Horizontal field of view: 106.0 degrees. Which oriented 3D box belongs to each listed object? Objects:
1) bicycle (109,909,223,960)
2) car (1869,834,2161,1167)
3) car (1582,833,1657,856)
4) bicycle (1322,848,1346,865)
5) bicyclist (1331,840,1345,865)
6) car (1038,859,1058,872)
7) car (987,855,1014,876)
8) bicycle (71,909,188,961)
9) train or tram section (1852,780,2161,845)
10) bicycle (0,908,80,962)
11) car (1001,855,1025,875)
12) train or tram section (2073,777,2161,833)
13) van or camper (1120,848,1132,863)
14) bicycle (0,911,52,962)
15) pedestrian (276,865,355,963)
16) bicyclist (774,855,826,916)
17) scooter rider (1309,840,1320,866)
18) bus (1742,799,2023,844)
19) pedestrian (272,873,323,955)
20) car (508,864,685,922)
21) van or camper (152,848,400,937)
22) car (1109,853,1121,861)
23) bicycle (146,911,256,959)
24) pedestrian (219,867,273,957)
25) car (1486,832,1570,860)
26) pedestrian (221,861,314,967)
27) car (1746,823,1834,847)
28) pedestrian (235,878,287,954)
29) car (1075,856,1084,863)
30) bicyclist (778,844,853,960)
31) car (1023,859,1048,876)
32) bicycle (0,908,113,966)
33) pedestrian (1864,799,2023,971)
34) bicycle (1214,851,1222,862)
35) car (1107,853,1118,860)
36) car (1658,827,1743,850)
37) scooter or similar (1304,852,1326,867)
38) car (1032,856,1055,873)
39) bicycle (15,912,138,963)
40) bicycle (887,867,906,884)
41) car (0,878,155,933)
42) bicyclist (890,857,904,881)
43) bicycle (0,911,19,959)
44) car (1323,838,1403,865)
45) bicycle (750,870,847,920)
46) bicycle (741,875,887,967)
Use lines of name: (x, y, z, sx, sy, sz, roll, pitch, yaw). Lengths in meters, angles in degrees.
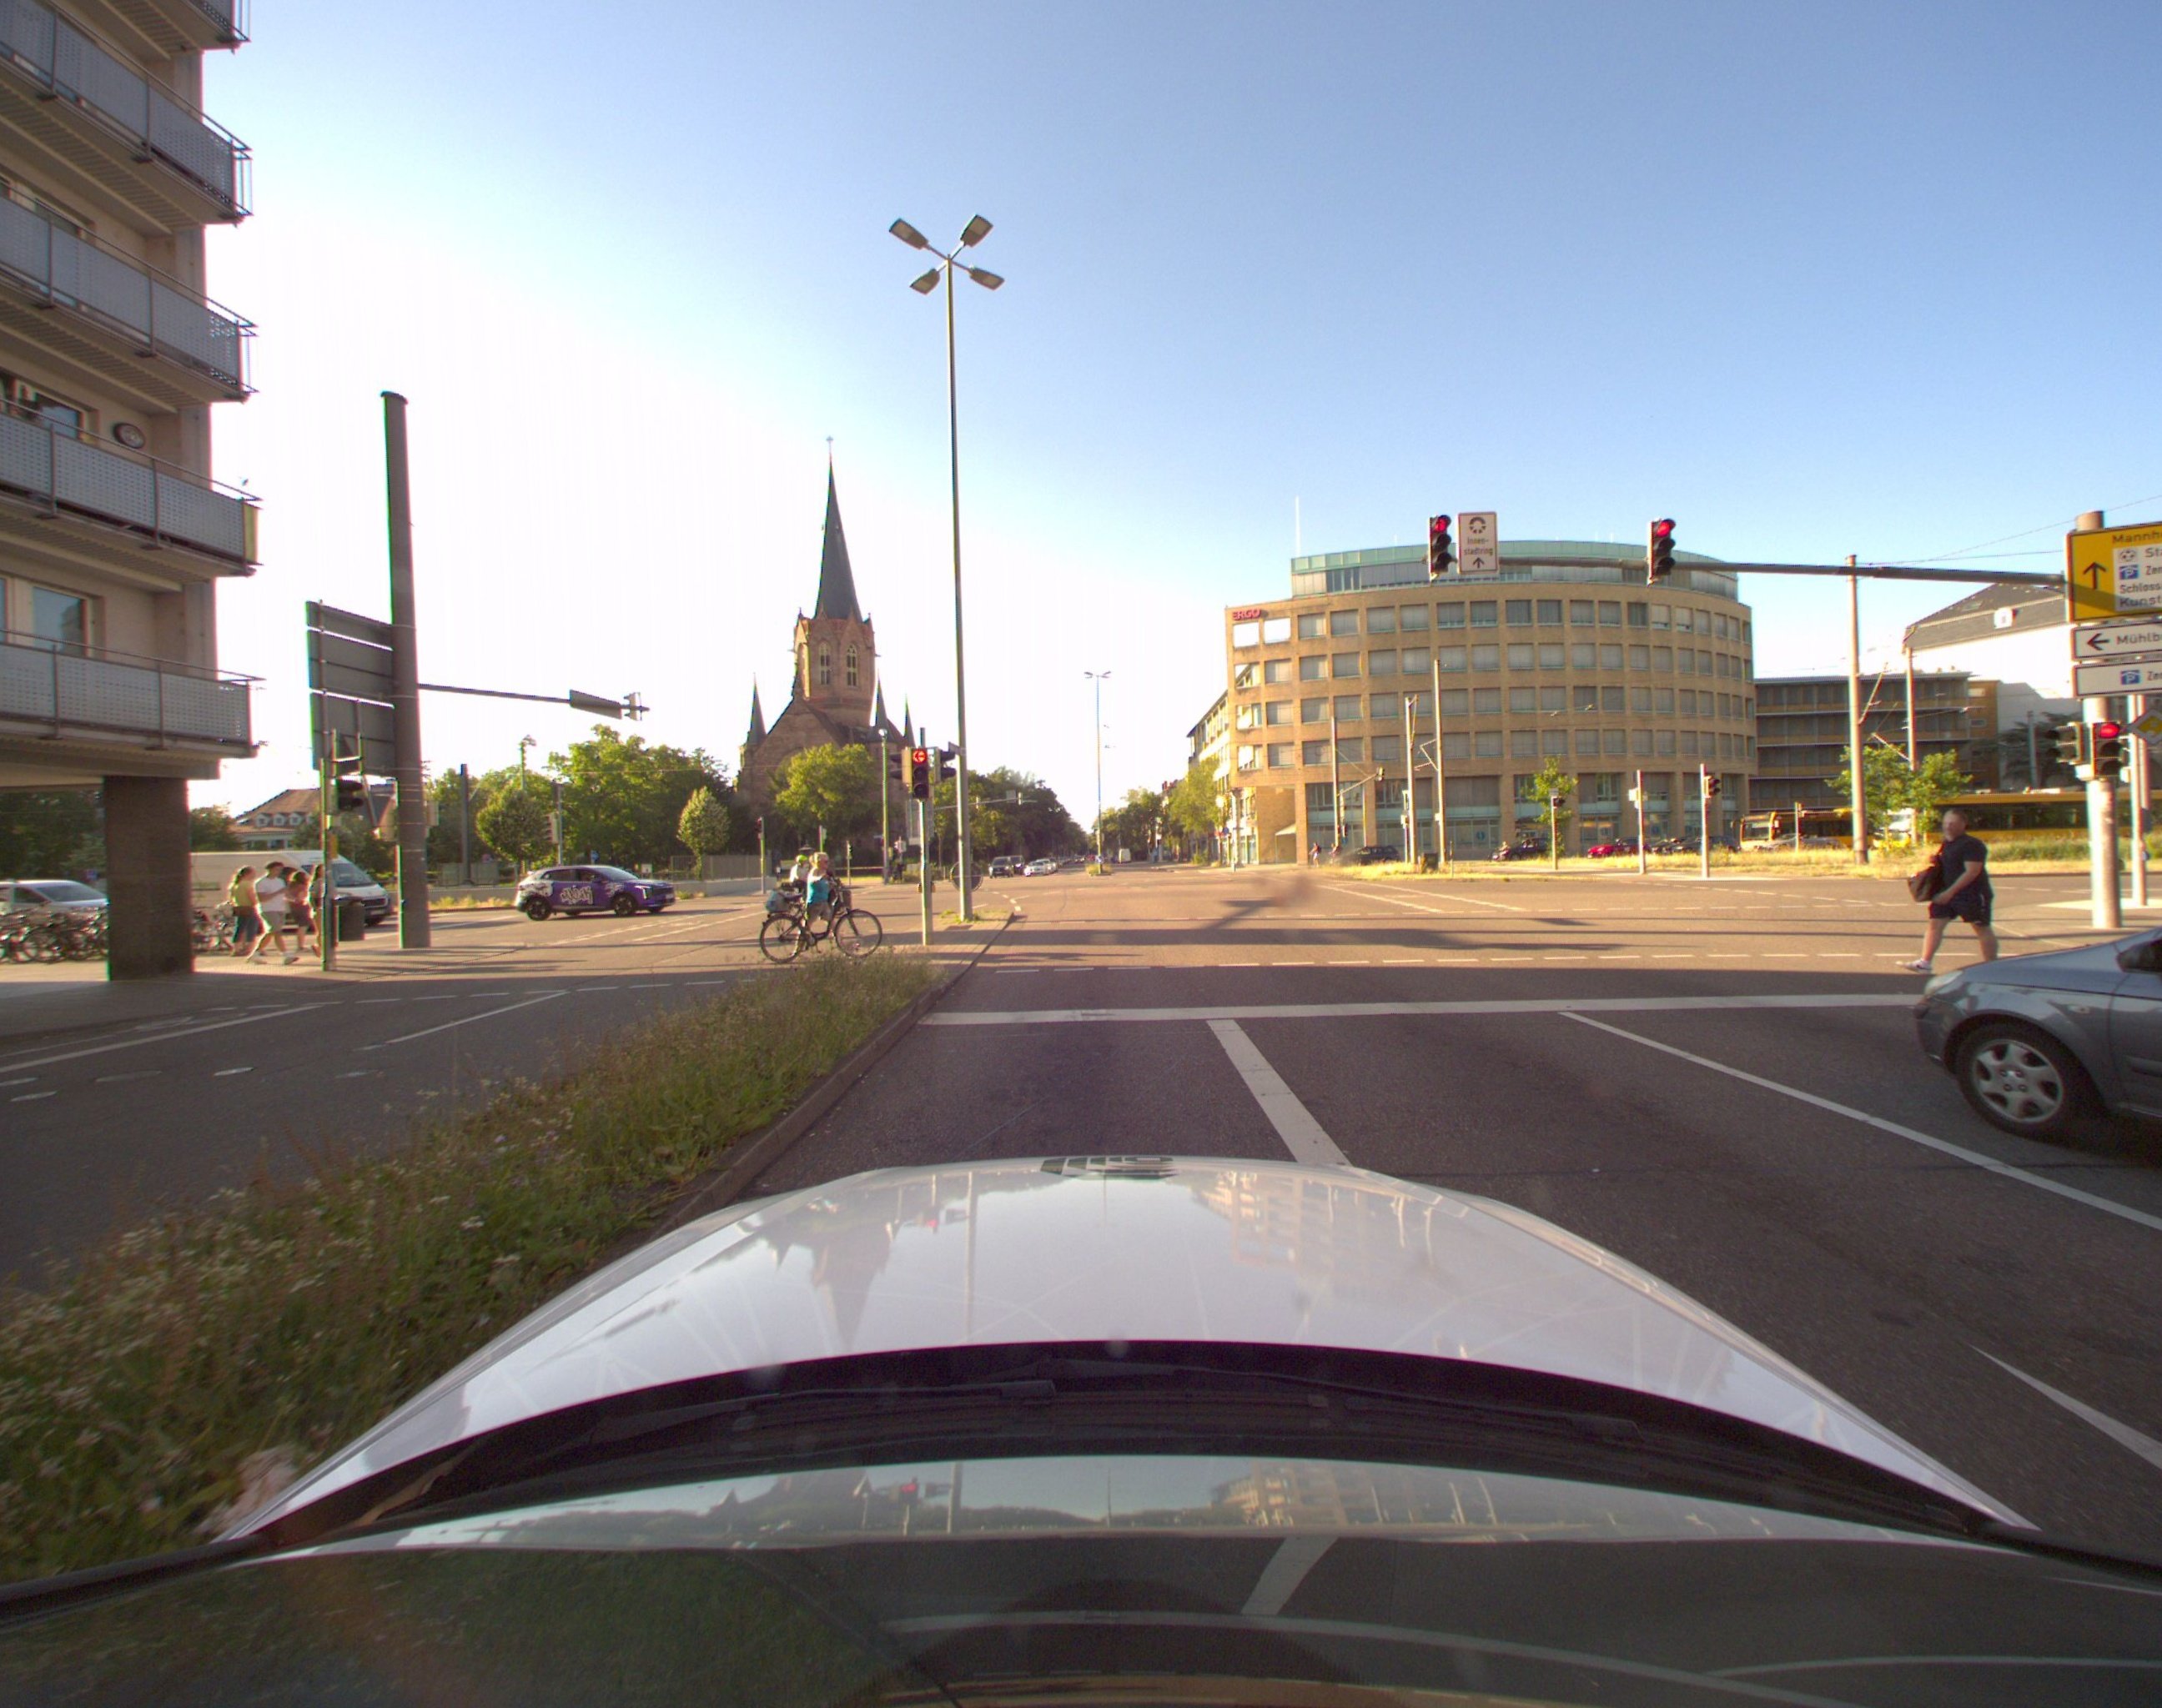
bicycle: (-19.705, 1.704, 17.590, 0.494, 0.906, 1.703, -2, 0, 0)
car: (5.464, 0.630, 3.023, 1.579, 1.446, 3.648, -1, 0, 0)
car: (34.382, -0.590, 52.050, 3.595, 1.342, 1.722, -2, 0, 1)
bicycle: (17.853, 0.164, 57.402, 1.511, 1.172, 0.476, -2, 0, 7)
bicyclist: (18.088, -0.084, 57.375, 0.786, 1.736, 0.476, -2, 0, 7)
car: (-3.356, 1.180, 83.338, 1.774, 1.236, 4.001, -2, 0, 1)
car: (-6.864, 0.978, 70.022, 1.774, 1.647, 4.001, -2, 0, 1)
bicycle: (-20.329, 1.710, 17.454, 0.494, 0.906, 1.703, -2, 0, 0)
train or tram section: (55.227, -2.446, 48.586, 17.095, 3.177, 3.689, -2, 0, -9)
bicycle: (-22.815, 1.743, 17.500, 0.494, 1.031, 1.703, -2, 0, 0)
car: (-6.448, 1.037, 77.421, 1.774, 1.704, 4.001, -2, 0, 1)
train or tram section: (72.863, -3.309, 52.771, 19.943, 3.177, 3.678, -2, 0, -17)
van or camper: (8.203, 0.275, 149.210, 1.986, 2.640, 5.353, -2, 0, 2)
bicycle: (-23.450, 1.811, 17.500, 0.494, 1.036, 1.703, -2, 0, 0)
pedestrian: (-13.880, 1.078, 14.779, 0.749, 1.709, 0.676, -2, 0, 9)
bicyclist: (-7.207, 0.781, 20.939, 0.877, 1.487, 1.161, -2, 0, -1)
scooter rider: (16.718, -0.075, 58.305, 0.676, 1.814, 0.476, -2, 0, 7)
bus: (55.189, -2.194, 56.147, 18.132, 2.436, 2.419, -2, 0, -4)
pedestrian: (-16.240, 1.230, 16.890, 0.464, 1.642, 0.579, -2, 0, 20)
car: (-15.039, 1.178, 25.447, 4.386, 1.573, 1.837, -2, 0, 1)
van or camper: (-24.553, 1.117, 24.994, 5.401, 2.416, 2.166, -2, 0, 1)
car: (7.205, 0.595, 174.385, 1.990, 1.592, 3.993, -2, 0, -5)
bicycle: (-18.923, 1.730, 17.566, 0.494, 0.840, 1.703, -2, 0, 0)
pedestrian: (-16.779, 1.156, 16.367, 0.550, 1.769, 0.470, -2, 0, 2)
car: (28.377, -0.484, 51.811, 4.212, 1.614, 2.001, -2, 0, 2)
pedestrian: (-14.051, 1.023, 14.084, 0.917, 1.758, 0.676, -2, 0, 9)
car: (45.733, -1.197, 52.566, 3.976, 1.346, 1.999, -2, 0, -2)
pedestrian: (-17.192, 1.286, 17.082, 0.466, 1.530, 0.576, -2, 0, 0)
car: (-0.231, 1.184, 171.598, 1.774, 1.448, 4.001, -2, 0, 1)
bicyclist: (-3.973, 0.692, 12.249, 0.780, 1.660, 0.900, -2, 0, -1)
car: (-3.843, 1.124, 69.469, 1.774, 1.236, 4.001, -2, 0, 1)
bicycle: (-22.049, 1.754, 17.473, 0.494, 1.038, 1.703, -2, 0, 0)
pedestrian: (9.296, 0.324, 8.816, 0.940, 1.768, 0.670, -2, 0, 5)
bicycle: (14.674, 0.255, 87.093, 0.769, 1.195, 2.471, -2, 0, 9)
car: (6.973, 0.543, 180.056, 1.989, 1.592, 3.996, -2, 0, -3)
car: (39.833, -0.993, 52.394, 3.976, 1.346, 1.999, -2, 0, -2)
scooter or similar: (16.757, 0.391, 58.300, 1.393, 1.001, 0.476, -2, 0, 7)
car: (-3.479, 0.976, 76.043, 1.774, 1.464, 4.001, -2, 0, 1)
bicycle: (-21.412, 1.759, 17.418, 0.494, 0.906, 1.703, -2, 0, 0)
bicycle: (-13.029, 1.530, 57.474, 0.650, 1.139, 1.661, -2, 0, -36)
car: (-35.324, 1.762, 28.006, 4.440, 1.672, 2.120, -2, 0, 0)
bicyclist: (-12.997, 1.066, 57.404, 0.644, 1.694, 0.773, -2, 0, -36)
bicycle: (-24.251, 1.826, 17.563, 0.497, 1.036, 1.932, -2, 0, -13)
car: (18.863, -0.189, 54.541, 4.635, 1.598, 1.998, -2, 0, -2)
bicycle: (-7.218, 1.034, 20.906, 2.037, 1.168, 1.161, -2, 0, -2)
bicycle: (-3.814, 0.942, 11.745, 1.822, 1.188, 0.734, -2, 0, -1)
